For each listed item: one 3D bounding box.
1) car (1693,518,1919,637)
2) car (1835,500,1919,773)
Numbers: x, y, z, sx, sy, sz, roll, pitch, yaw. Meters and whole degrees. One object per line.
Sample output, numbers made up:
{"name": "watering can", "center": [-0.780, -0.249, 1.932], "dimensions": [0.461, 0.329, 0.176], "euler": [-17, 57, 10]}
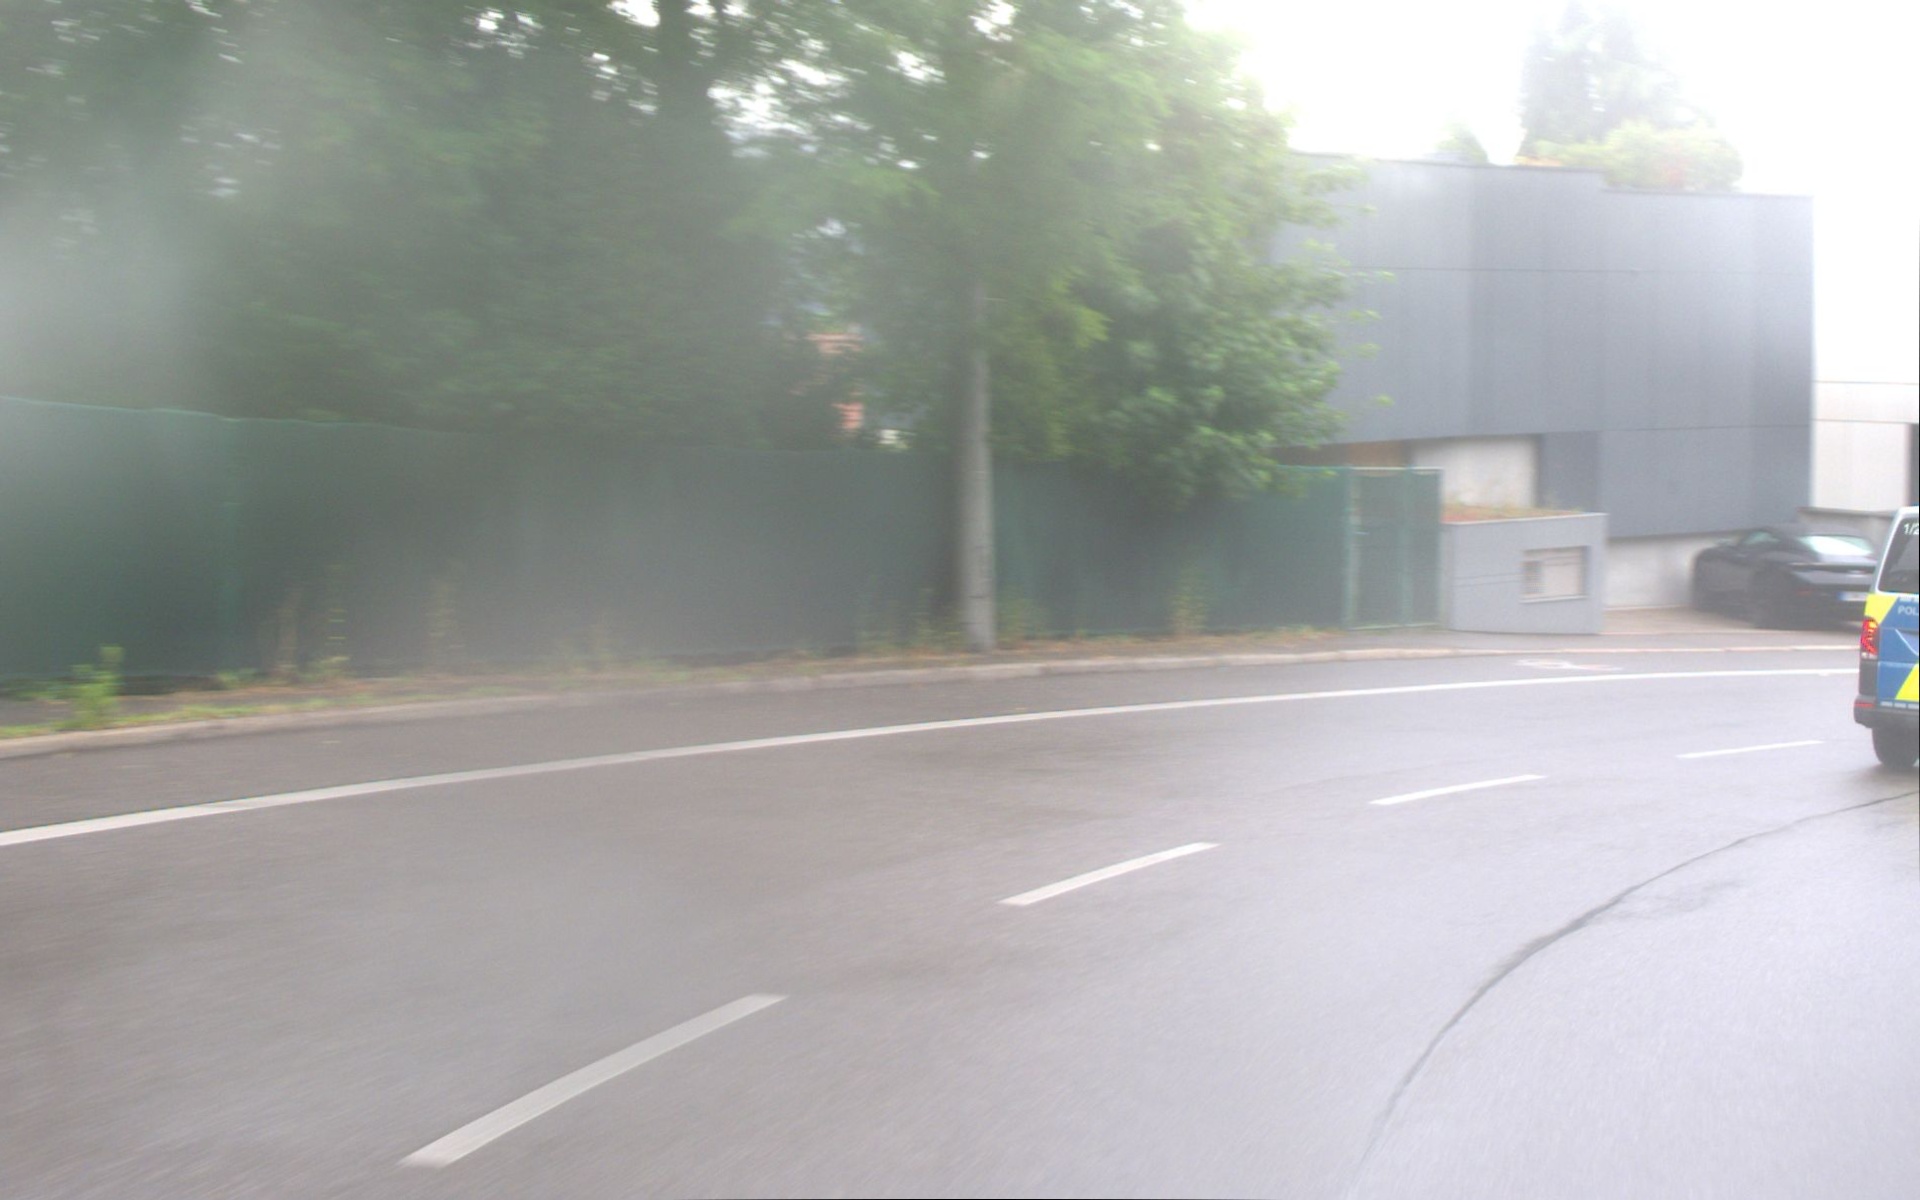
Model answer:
{"name": "car", "center": [10.880, -0.324, 44.425], "dimensions": [1.891, 1.296, 4.001], "euler": [3, 3, 0]}
{"name": "car", "center": [8.242, 0.321, 25.769], "dimensions": [1.997, 1.887, 4.562], "euler": [3, 1, 30]}
